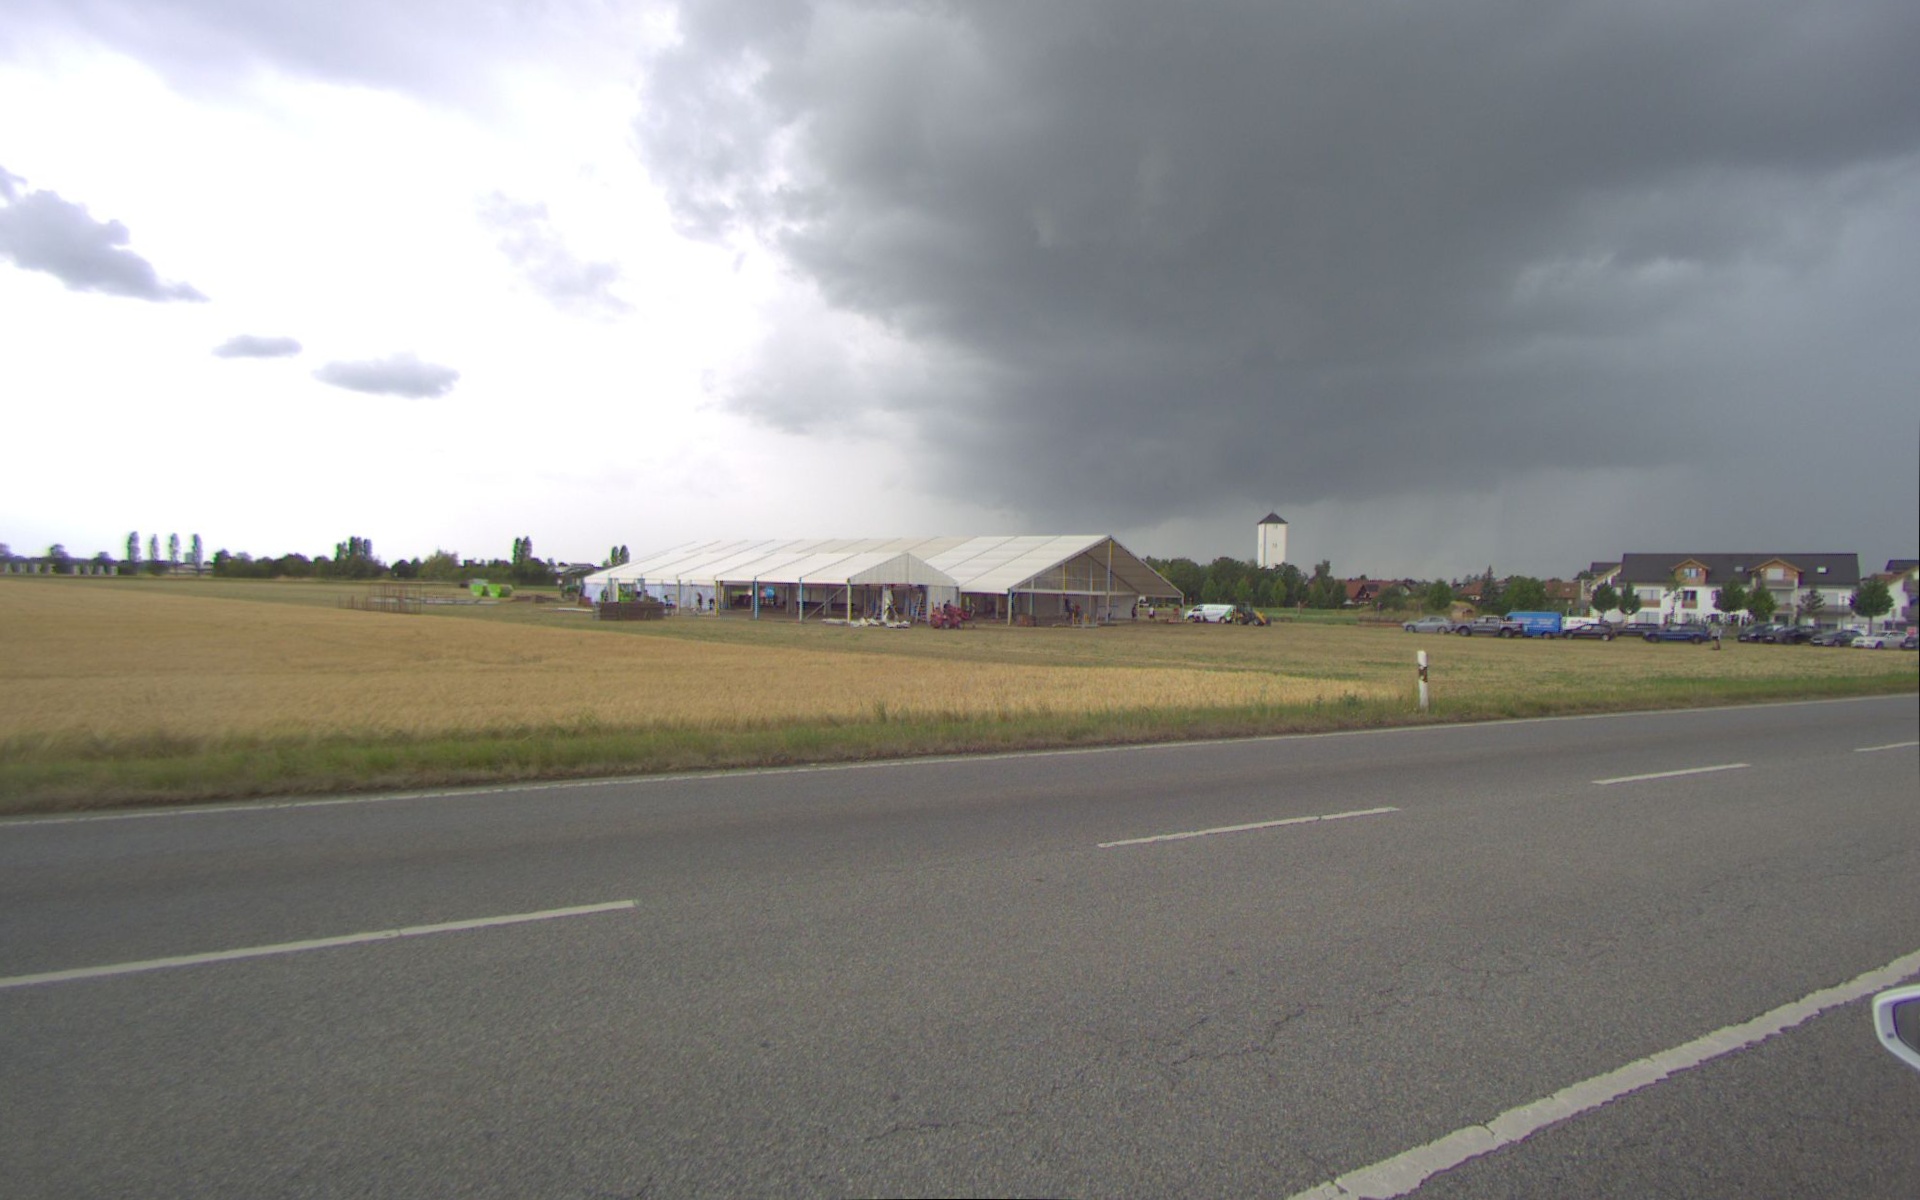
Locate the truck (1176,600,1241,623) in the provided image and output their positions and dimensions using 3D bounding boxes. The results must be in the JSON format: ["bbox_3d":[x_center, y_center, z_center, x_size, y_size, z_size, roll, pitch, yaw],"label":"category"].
[{"bbox_3d":[25.903,1.216,104.691,5.961,2.246,2.713,1,0,33],"label":"truck"}]

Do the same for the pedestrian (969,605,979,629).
[{"bbox_3d":[0.991,1.201,71.580,0.535,1.649,0.552,1,0,15],"label":"pedestrian"}]

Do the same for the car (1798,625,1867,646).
[{"bbox_3d":[68.944,2.819,79.393,4.138,1.556,1.996,1,0,-12],"label":"car"}]

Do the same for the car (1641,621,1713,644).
[{"bbox_3d":[58.940,2.624,82.553,4.660,1.719,1.990,1,0,40],"label":"car"}]

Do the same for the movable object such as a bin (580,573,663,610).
[{"bbox_3d":[-32.054,-0.815,95.023,7.467,3.219,4.139,2,1,40],"label":"movable object such as a bin"}]

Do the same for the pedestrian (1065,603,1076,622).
[{"bbox_3d":[10.293,1.176,93.567,0.721,1.803,0.756,1,0,40],"label":"pedestrian"}]

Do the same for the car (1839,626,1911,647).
[{"bbox_3d":[69.918,2.809,76.776,4.138,1.465,1.996,1,0,-12],"label":"car"}]

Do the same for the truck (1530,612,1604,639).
[{"bbox_3d":[54.903,2.259,90.899,5.495,2.226,2.597,1,0,38],"label":"truck"}]

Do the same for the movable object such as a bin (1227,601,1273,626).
[{"bbox_3d":[28.474,1.319,98.657,3.929,2.273,1.881,1,0,33],"label":"movable object such as a bin"}]

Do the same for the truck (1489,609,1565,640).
[{"bbox_3d":[48.846,2.080,86.589,5.379,2.478,2.384,1,0,38],"label":"truck"}]

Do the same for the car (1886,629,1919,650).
[{"bbox_3d":[70.977,2.910,74.052,4.138,1.465,1.996,1,0,-12],"label":"car"}]

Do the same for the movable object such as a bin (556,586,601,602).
[{"bbox_3d":[-53.292,-0.878,140.474,2.529,2.040,5.386,2,0,41],"label":"movable object such as a bin"}]

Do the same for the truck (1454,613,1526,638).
[{"bbox_3d":[44.892,2.110,85.085,5.155,1.946,2.106,1,0,34],"label":"truck"}]

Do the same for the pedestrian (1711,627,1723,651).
[{"bbox_3d":[52.803,2.715,70.052,0.582,1.576,0.623,1,0,41],"label":"pedestrian"}]

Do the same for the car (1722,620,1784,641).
[{"bbox_3d":[68.120,2.620,86.328,4.138,1.650,1.996,1,0,-12],"label":"car"}]

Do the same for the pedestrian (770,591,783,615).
[{"bbox_3d":[-16.737,0.302,91.509,0.927,2.130,0.863,1,0,-24],"label":"pedestrian"}]

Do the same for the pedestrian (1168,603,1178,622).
[{"bbox_3d":[20.782,1.210,98.112,0.680,1.799,0.691,2,0,41],"label":"pedestrian"}]

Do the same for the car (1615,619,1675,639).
[{"bbox_3d":[65.026,2.744,95.379,4.571,1.719,1.990,1,0,40],"label":"car"}]

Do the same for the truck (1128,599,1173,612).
[{"bbox_3d":[40.202,1.076,212.610,3.277,2.563,9.255,1,0,-43],"label":"truck"}]

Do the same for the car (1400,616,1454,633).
[{"bbox_3d":[42.640,2.221,91.674,4.236,1.481,1.886,1,0,34],"label":"car"}]

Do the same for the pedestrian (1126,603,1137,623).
[{"bbox_3d":[16.169,1.241,94.767,0.684,1.799,0.688,1,0,39],"label":"pedestrian"}]

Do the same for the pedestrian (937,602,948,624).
[{"bbox_3d":[-1.308,0.959,73.970,0.579,1.649,0.465,1,0,-39],"label":"pedestrian"}]

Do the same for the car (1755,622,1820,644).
[{"bbox_3d":[67.869,2.725,82.387,4.138,1.650,1.996,1,0,-12],"label":"car"}]

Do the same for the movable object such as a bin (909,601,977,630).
[{"bbox_3d":[-1.169,1.086,70.682,2.556,1.889,4.457,1,0,37],"label":"movable object such as a bin"}]

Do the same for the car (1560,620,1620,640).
[{"bbox_3d":[54.189,2.569,86.407,4.106,1.539,1.991,1,0,40],"label":"car"}]

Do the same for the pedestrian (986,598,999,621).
[{"bbox_3d":[2.999,0.869,91.954,0.757,2.040,0.873,1,0,43],"label":"pedestrian"}]

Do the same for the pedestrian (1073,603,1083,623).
[{"bbox_3d":[10.896,1.199,92.872,0.646,1.767,0.724,1,0,40],"label":"pedestrian"}]

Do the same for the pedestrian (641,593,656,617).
[{"bbox_3d":[-26.922,0.405,86.715,1.010,2.040,0.803,2,0,41],"label":"pedestrian"}]

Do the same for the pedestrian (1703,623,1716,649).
[{"bbox_3d":[51.946,2.506,69.624,0.673,1.809,0.543,1,0,-42],"label":"pedestrian"}]

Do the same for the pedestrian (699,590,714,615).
[{"bbox_3d":[-21.249,0.220,84.084,1.005,2.040,0.806,1,0,-3],"label":"pedestrian"}]
